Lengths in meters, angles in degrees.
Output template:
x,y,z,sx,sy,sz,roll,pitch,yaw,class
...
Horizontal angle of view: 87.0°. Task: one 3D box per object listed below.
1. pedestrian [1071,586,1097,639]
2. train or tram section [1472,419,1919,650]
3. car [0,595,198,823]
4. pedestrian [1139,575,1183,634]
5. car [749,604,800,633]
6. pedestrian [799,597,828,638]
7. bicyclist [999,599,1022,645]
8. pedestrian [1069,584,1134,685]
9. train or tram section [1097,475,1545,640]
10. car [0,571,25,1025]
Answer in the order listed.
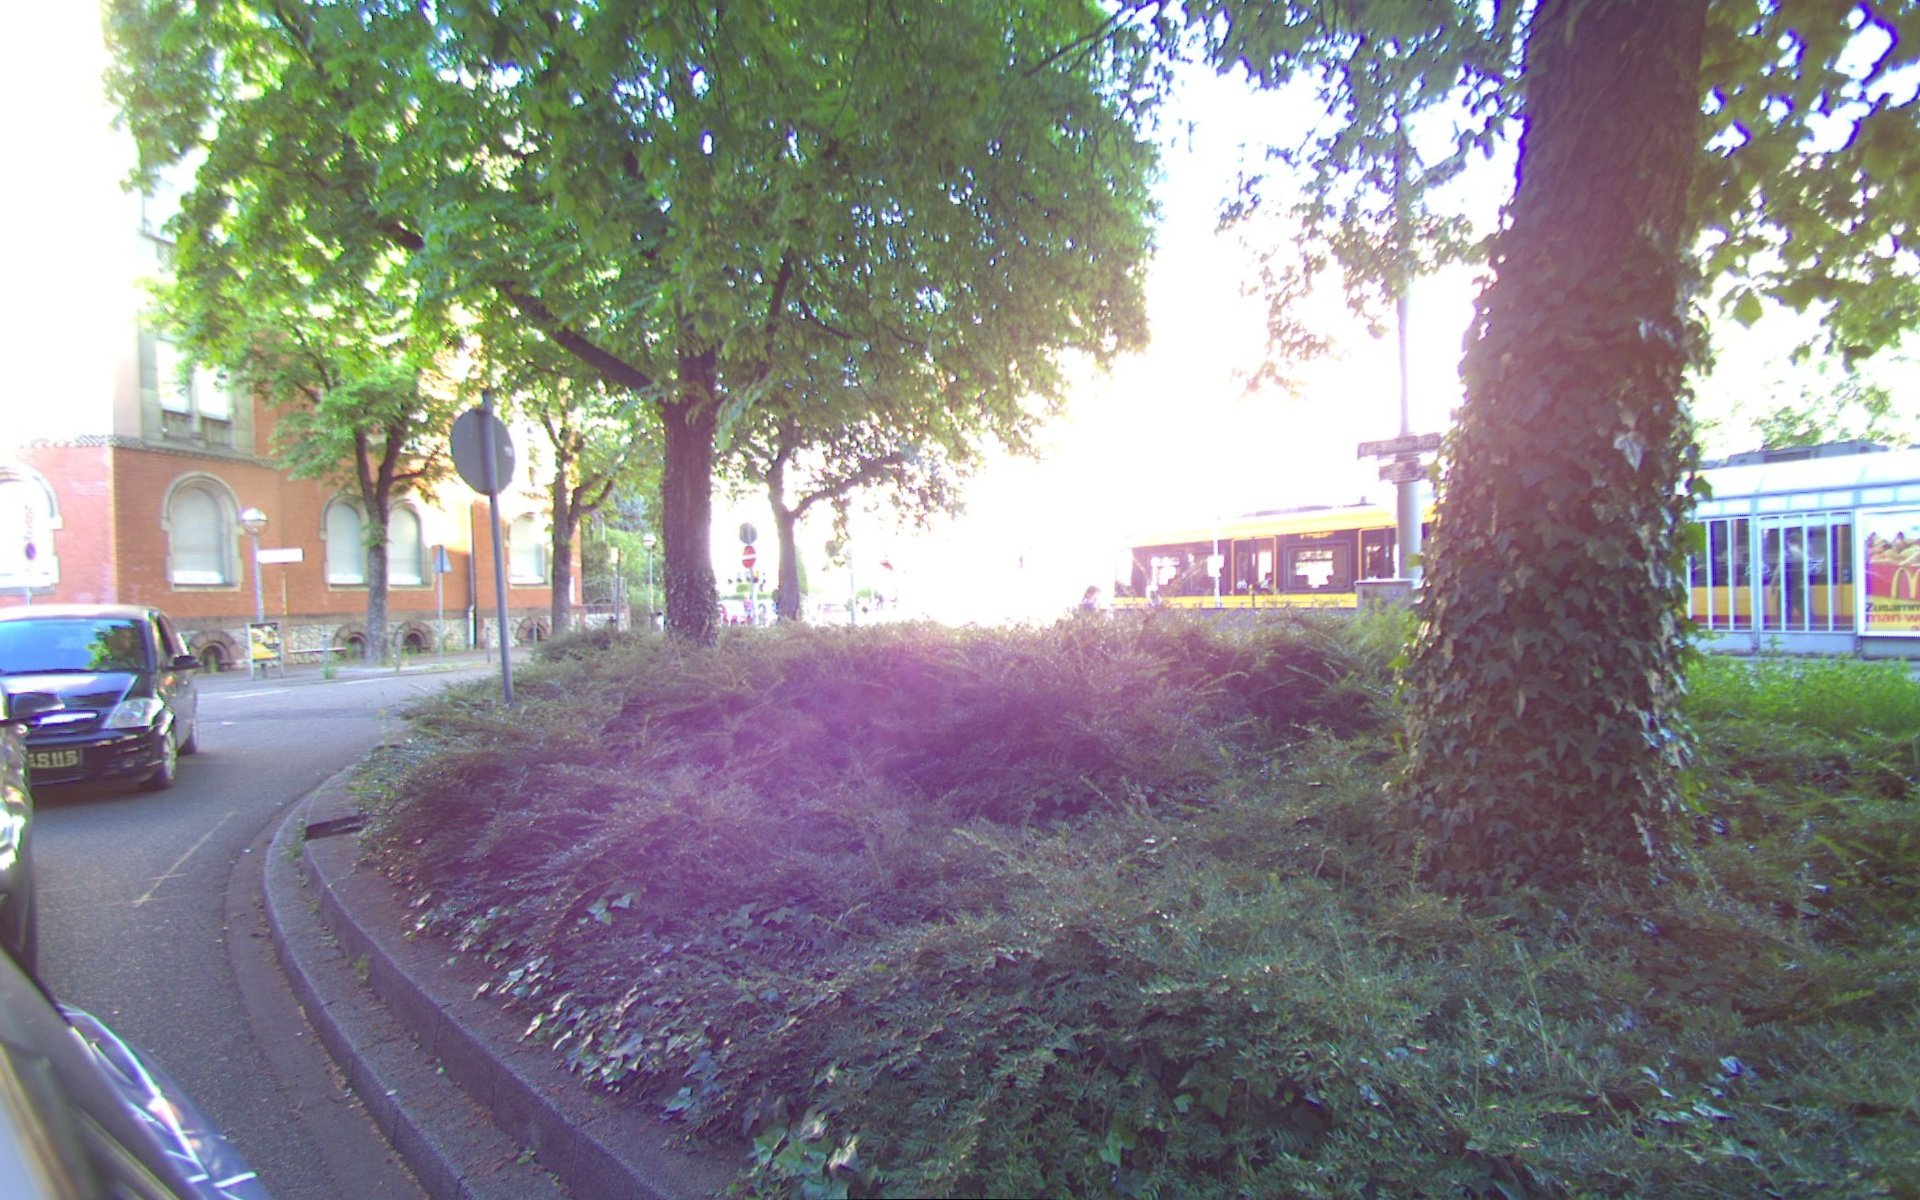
x,y,z,sx,sy,sz,roll,pitch,yaw,class
4.007,0.400,32.764,0.716,1.647,0.903,-3,1,5,pedestrian
15.611,-1.049,17.395,2.739,3.614,12.456,-2,0,-32,train or tram section
-7.956,0.836,9.033,1.653,1.640,3.697,-2,0,-35,car
5.802,0.122,29.251,0.714,1.647,0.907,-4,1,-36,pedestrian
-9.831,0.948,53.463,1.707,1.428,4.013,-2,0,-25,car
-6.097,0.730,42.126,0.722,1.647,0.897,-3,1,27,pedestrian
1.786,0.778,35.908,0.588,1.585,0.557,-2,0,-30,bicyclist
2.110,0.498,15.110,0.698,1.454,0.602,-2,0,-25,pedestrian
8.986,-0.885,28.115,2.727,3.584,12.718,-2,0,-32,train or tram section
-5.421,0.743,4.529,1.768,1.590,4.264,-1,-1,-43,car
